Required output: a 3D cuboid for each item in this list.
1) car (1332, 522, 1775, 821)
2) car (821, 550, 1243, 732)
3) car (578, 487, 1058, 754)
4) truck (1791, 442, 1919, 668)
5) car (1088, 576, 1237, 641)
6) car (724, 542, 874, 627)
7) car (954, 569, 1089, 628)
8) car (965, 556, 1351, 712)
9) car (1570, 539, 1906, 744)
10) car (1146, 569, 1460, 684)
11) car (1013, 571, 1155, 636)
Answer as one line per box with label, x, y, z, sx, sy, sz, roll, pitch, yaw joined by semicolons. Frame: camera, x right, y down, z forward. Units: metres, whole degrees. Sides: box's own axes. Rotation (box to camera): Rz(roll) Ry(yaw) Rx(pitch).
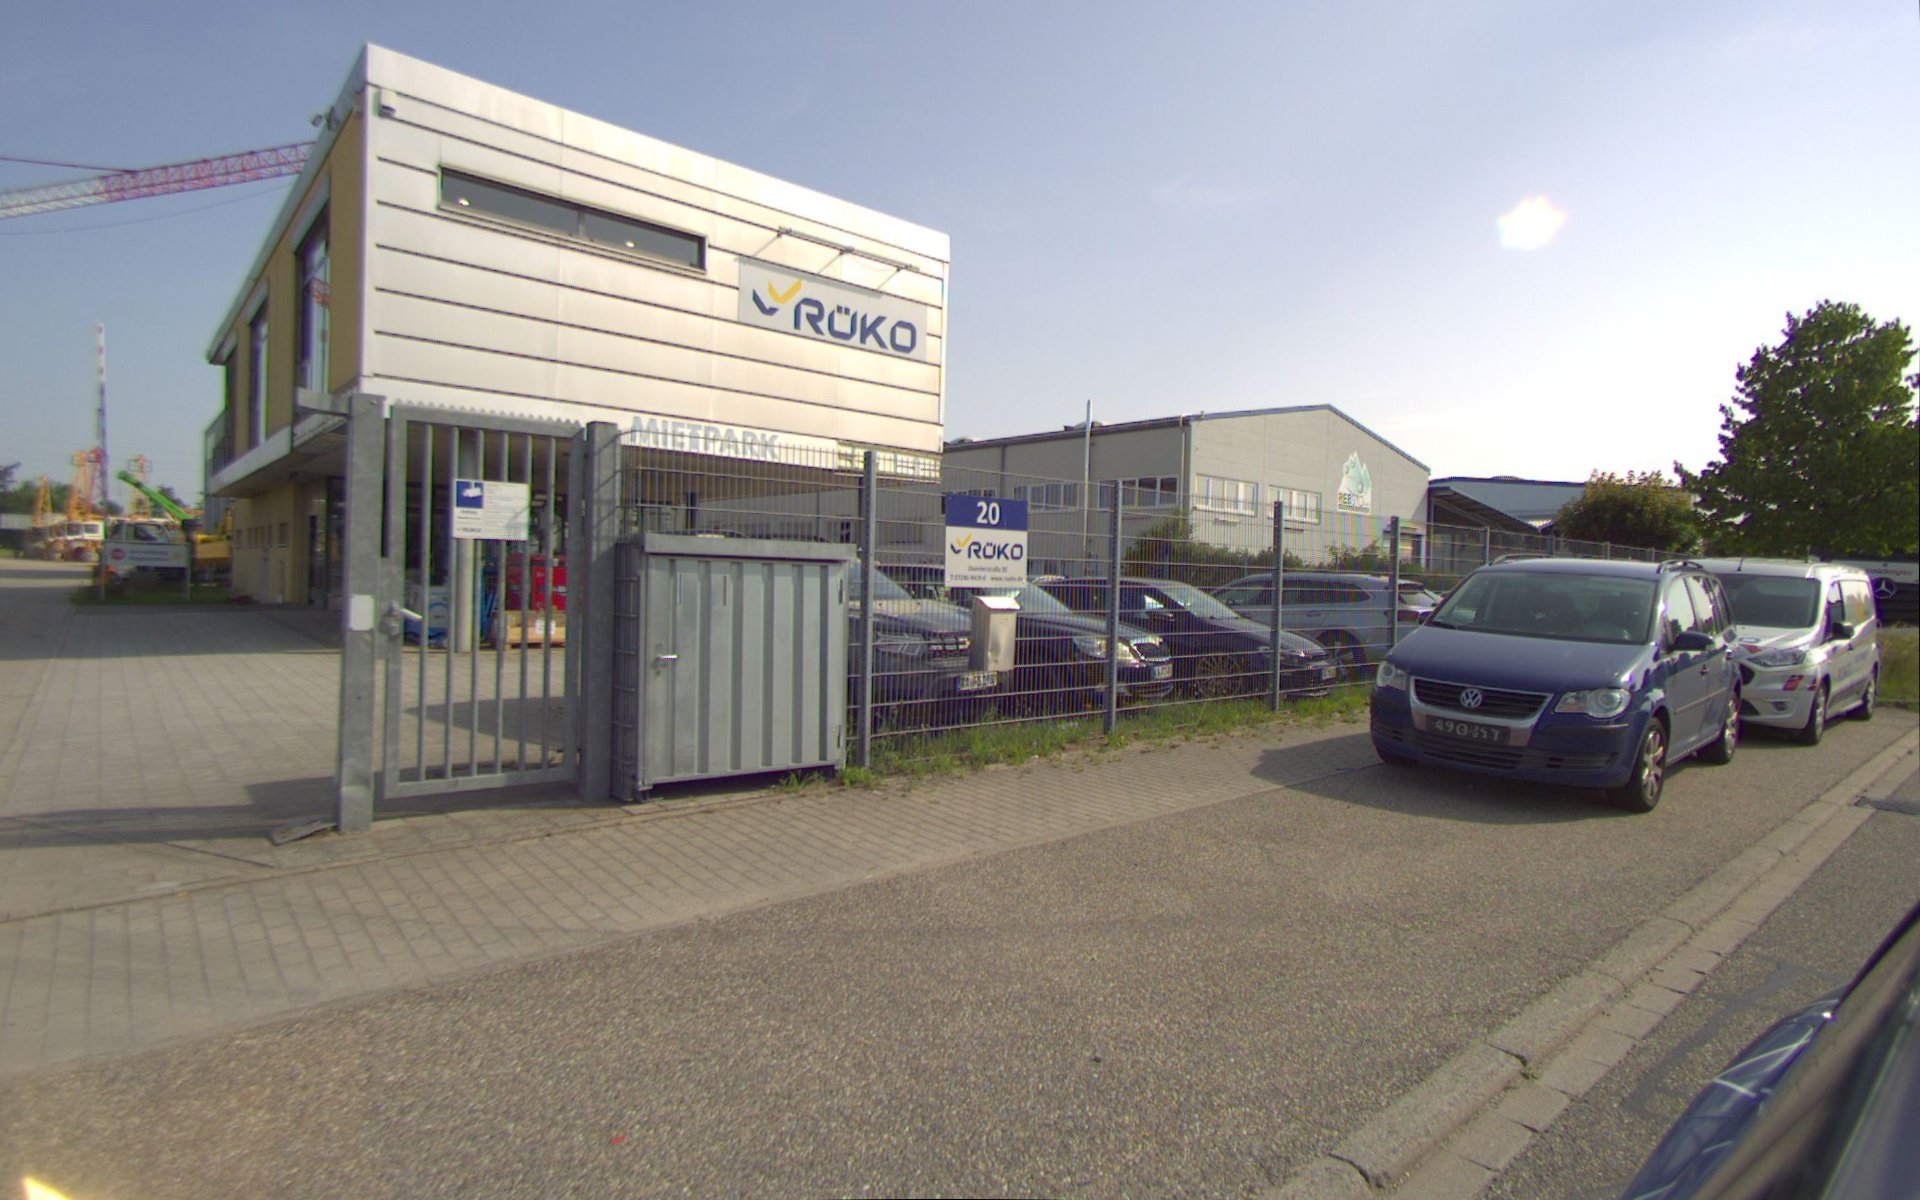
car;4.829;0.372;7.971;4.176;1.741;1.828;-1;2;-42
car;0.579;0.281;10.609;1.868;1.514;4.228;2;1;-44
car;-1.408;0.069;8.810;4.223;1.759;1.870;2;1;42
truck;20.634;-0.788;21.667;9.518;4.064;2.751;1;3;-42
car;5.499;0.203;27.105;1.890;1.576;4.301;2;1;44
car;-4.270;-0.418;26.298;1.861;2.027;4.367;1;1;-39
car;1.992;-0.049;31.817;1.890;1.712;4.301;2;1;44
car;2.212;0.287;12.150;1.868;1.514;4.228;2;1;-44
car;8.696;0.319;11.168;4.518;1.811;1.998;-1;2;-40
car;4.913;0.289;14.853;1.761;1.388;3.990;0;2;-45
car;3.659;0.086;29.349;1.890;1.712;4.301;2;1;44
